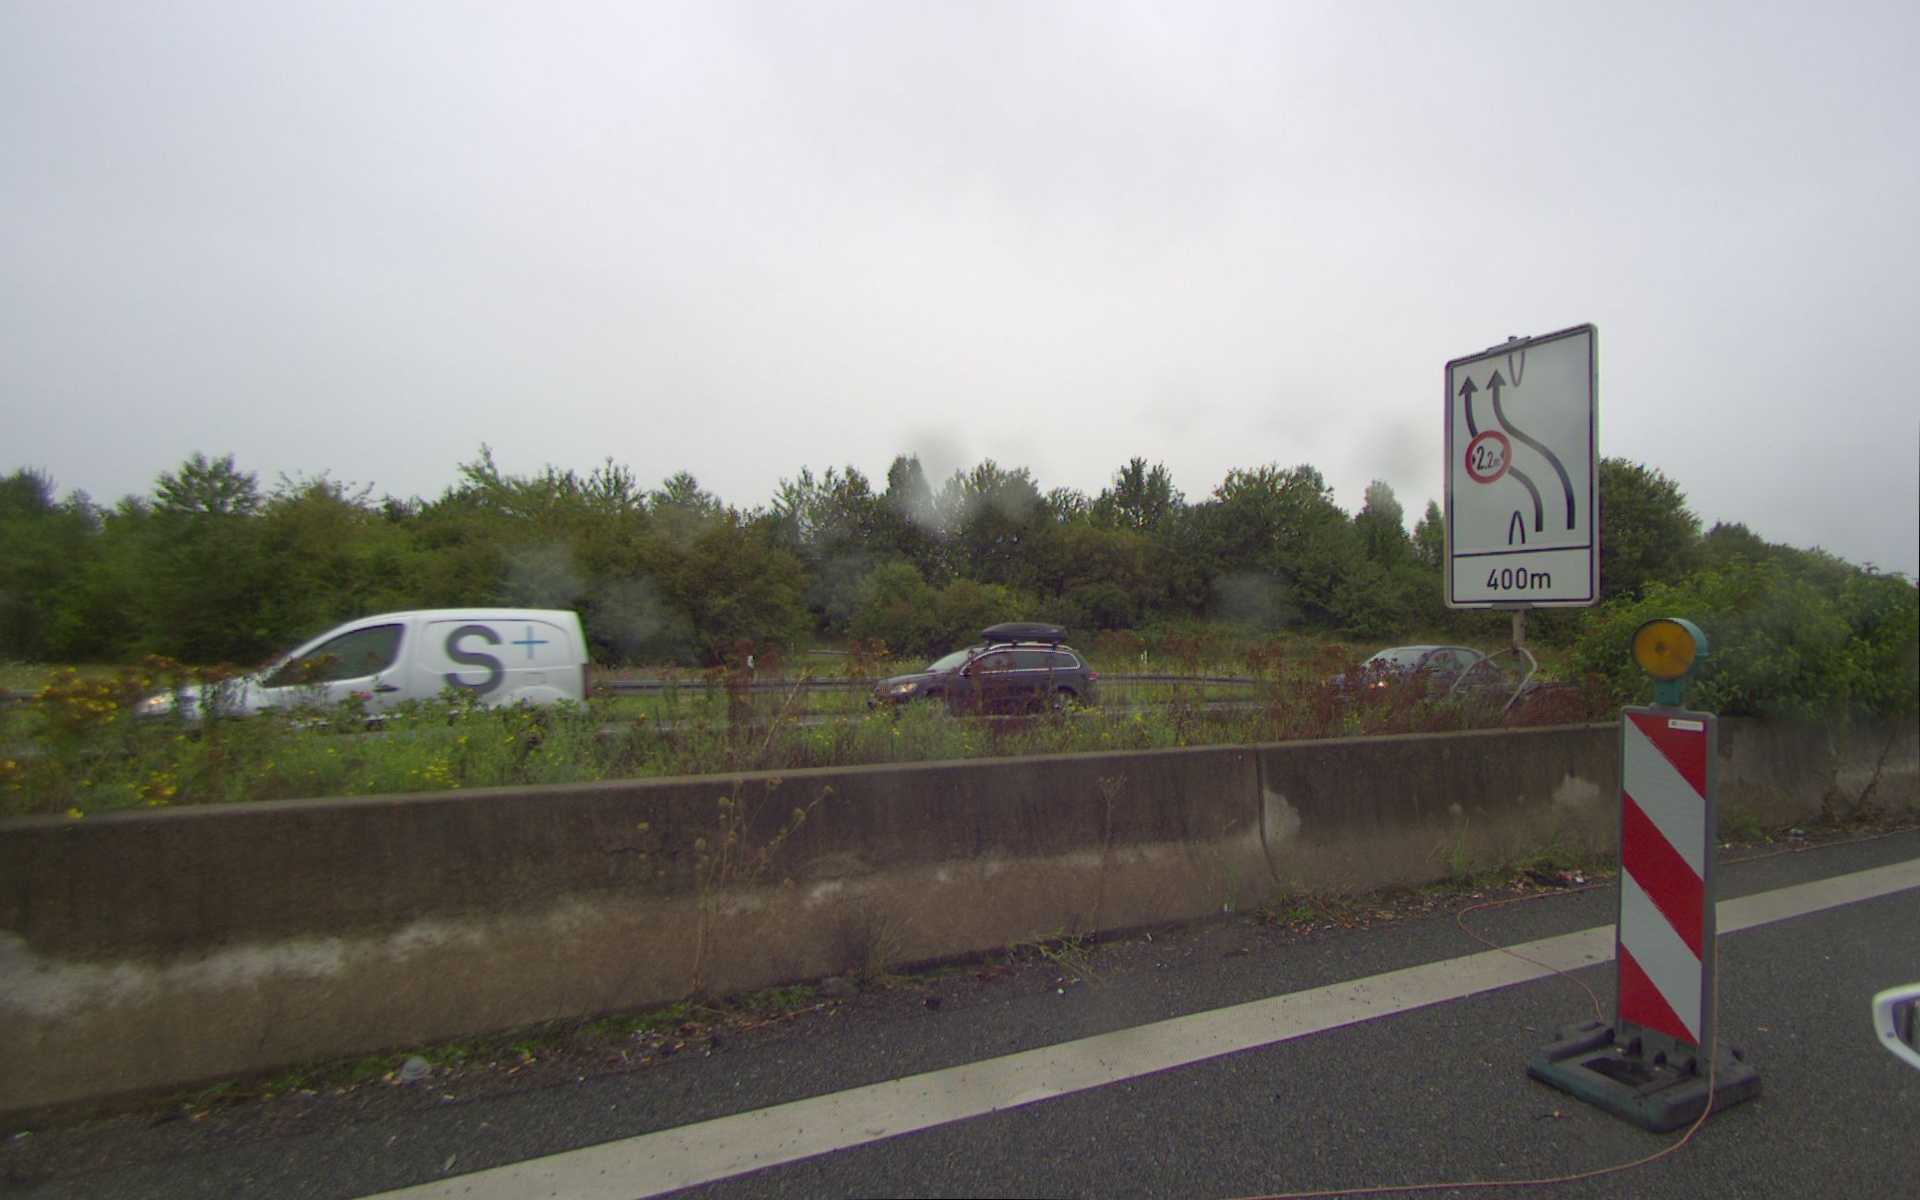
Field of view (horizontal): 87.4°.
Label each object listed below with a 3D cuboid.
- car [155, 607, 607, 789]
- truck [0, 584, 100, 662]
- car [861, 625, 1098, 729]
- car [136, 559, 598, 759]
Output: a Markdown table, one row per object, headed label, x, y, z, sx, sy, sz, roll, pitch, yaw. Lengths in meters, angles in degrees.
| label | x | y | z | sx | sy | sz | roll | pitch | yaw |
| --- | --- | --- | --- | --- | --- | --- | --- | --- | --- |
| car | -6.071 | 0.961 | 11.010 | 3.949 | 1.671 | 1.861 | 1 | -2 | -28 |
| truck | -47.750 | 1.184 | 50.062 | 2.859 | 3.667 | 14.505 | 1 | -2 | -22 |
| car | 0.404 | 1.400 | 19.396 | 4.180 | 1.813 | 1.984 | 1 | -2 | -30 |
| car | -6.204 | 0.594 | 10.969 | 3.952 | 1.825 | 1.985 | 2 | 0 | -29 |
